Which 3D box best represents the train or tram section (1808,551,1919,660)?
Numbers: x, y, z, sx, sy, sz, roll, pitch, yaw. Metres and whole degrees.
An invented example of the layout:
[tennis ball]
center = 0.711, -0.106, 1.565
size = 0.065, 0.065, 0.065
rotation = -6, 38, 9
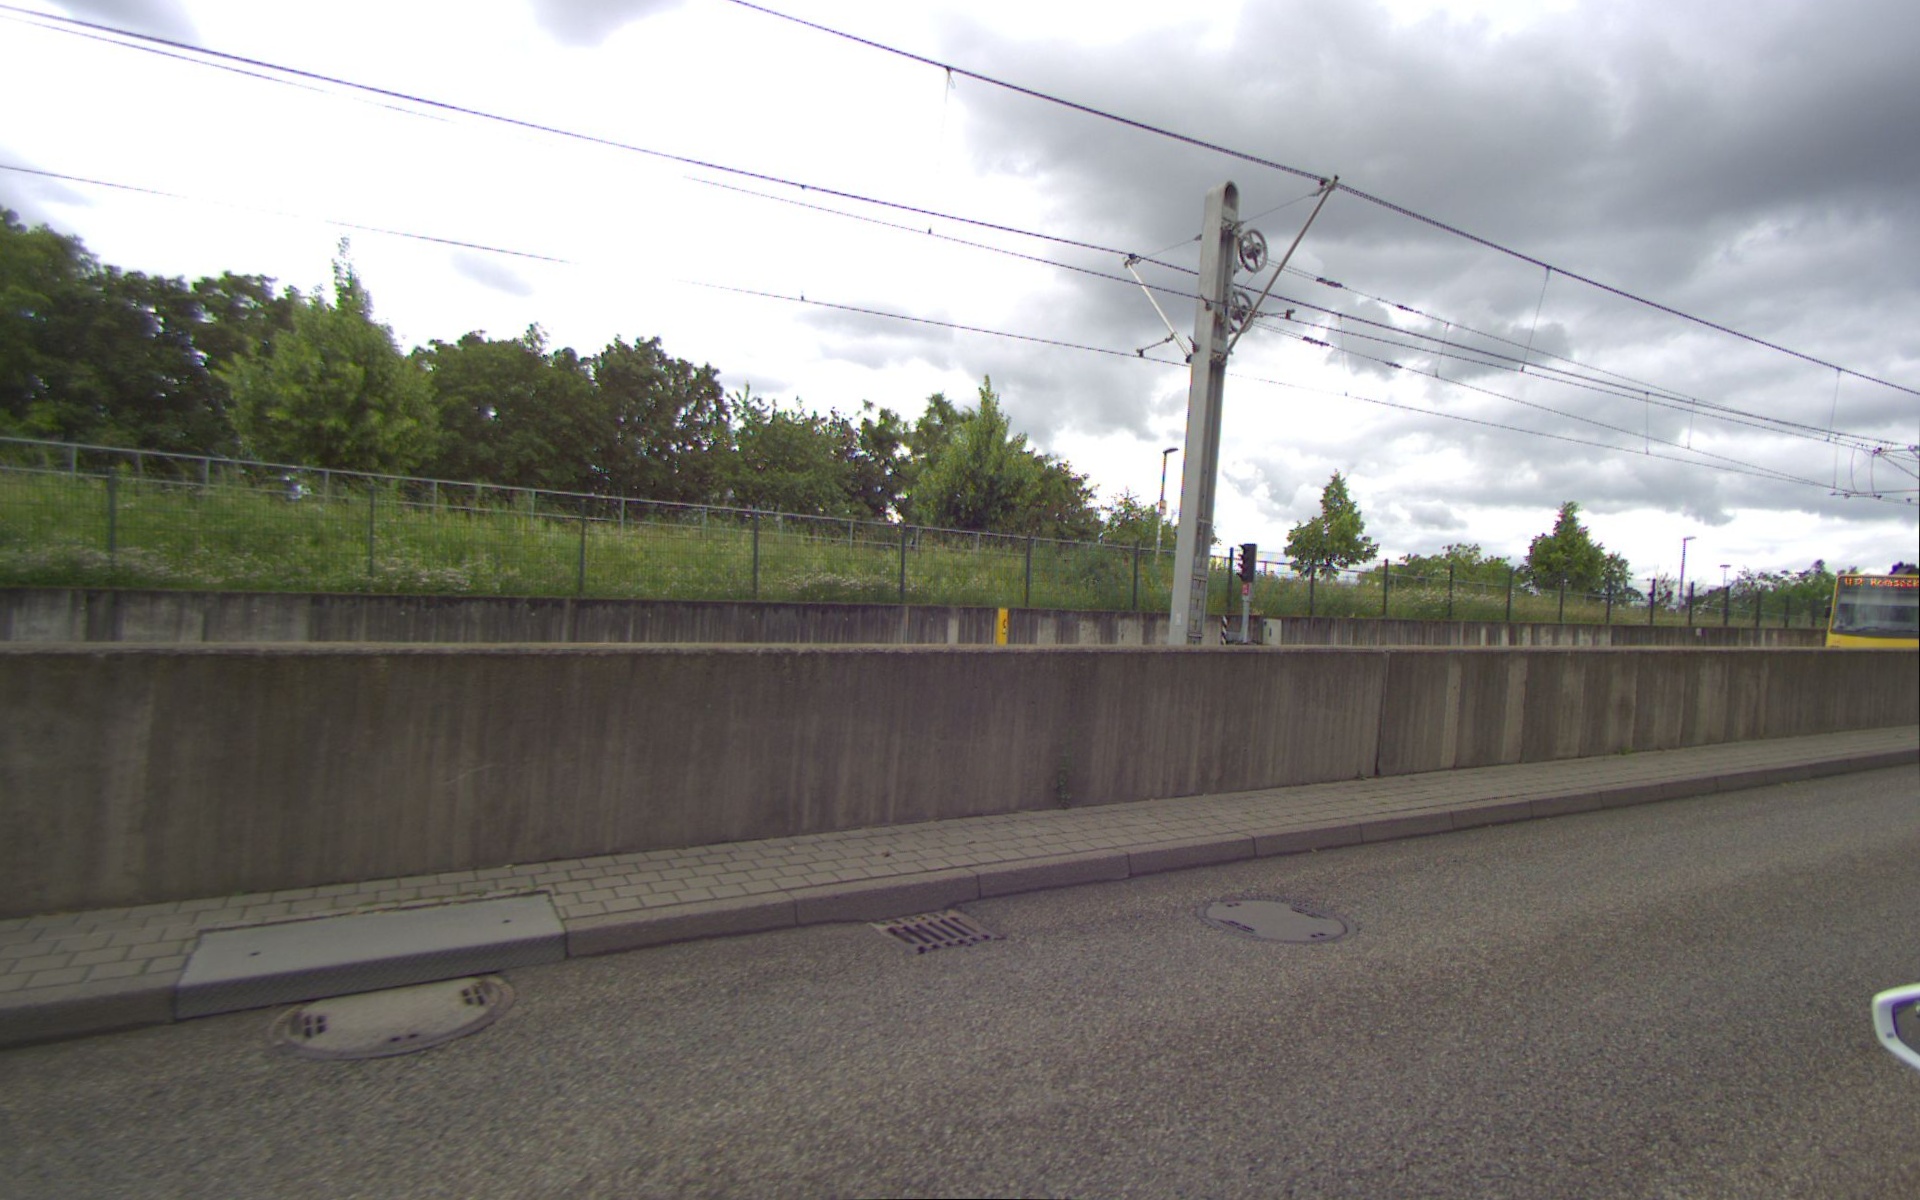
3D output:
[train or tram section]
center = 34.945, 0.500, 35.206
size = 18.715, 3.158, 2.795
rotation = 3, -1, -33
